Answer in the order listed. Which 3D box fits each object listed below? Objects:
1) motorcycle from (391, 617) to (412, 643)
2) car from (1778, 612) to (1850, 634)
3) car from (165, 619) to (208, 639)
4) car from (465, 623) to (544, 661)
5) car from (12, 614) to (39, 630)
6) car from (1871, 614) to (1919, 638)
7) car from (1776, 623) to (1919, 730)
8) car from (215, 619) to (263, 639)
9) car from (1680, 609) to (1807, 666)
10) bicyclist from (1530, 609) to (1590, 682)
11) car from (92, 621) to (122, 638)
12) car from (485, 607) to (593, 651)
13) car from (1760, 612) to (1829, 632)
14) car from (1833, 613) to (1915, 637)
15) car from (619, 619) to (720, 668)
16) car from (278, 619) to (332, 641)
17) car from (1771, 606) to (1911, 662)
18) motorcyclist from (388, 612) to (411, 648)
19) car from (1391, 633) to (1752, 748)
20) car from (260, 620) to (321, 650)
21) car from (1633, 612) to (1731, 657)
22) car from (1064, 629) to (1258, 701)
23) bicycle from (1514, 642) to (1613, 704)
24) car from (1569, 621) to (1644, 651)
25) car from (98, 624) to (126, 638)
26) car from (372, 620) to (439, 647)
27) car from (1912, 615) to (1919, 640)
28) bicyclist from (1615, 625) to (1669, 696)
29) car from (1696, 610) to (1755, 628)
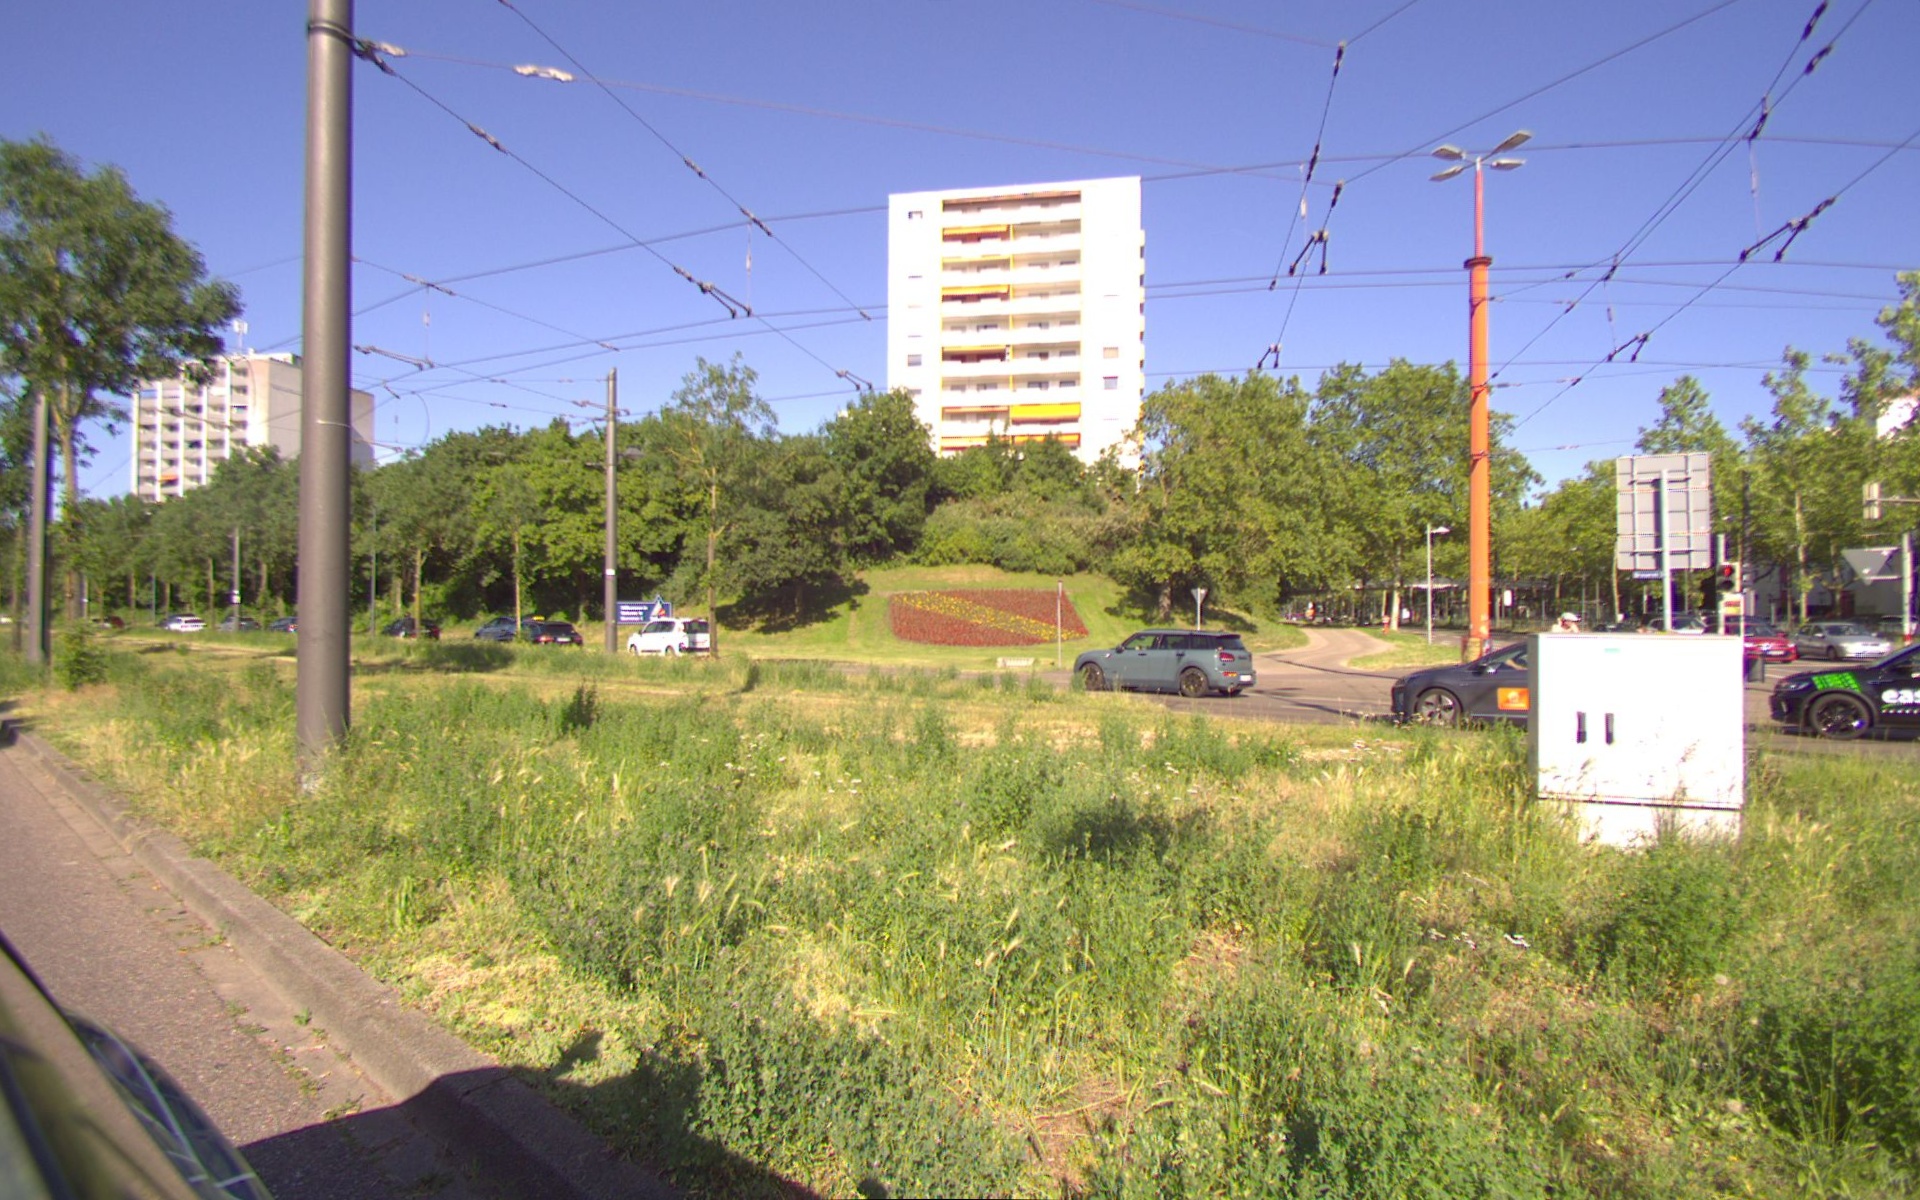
[{"bbox_3d":[-25.528,1.350,46.268,0.416,1.140,2.098,0,0,-41],"label":"motorcycle"},{"bbox_3d":[67.061,1.779,79.516,1.864,1.608,4.010,0,0,-34],"label":"car"},{"bbox_3d":[-55.720,2.079,72.904,4.642,1.433,1.685,-1,-2,42],"label":"car"},{"bbox_3d":[-21.027,1.906,46.627,4.439,1.613,1.817,-1,-2,44],"label":"car"},{"bbox_3d":[-97.094,2.258,105.139,3.757,1.620,1.744,-1,-2,42],"label":"car"},{"bbox_3d":[64.813,1.766,68.721,1.864,1.608,4.010,0,0,-34],"label":"car"},{"bbox_3d":[13.952,1.075,14.138,3.886,1.444,1.527,-1,-2,43],"label":"car"},{"bbox_3d":[-54.224,2.157,76.121,4.693,1.443,1.972,-1,-2,42],"label":"car"},{"bbox_3d":[28.666,1.320,37.217,1.979,1.915,4.259,-1,0,11],"label":"car"},{"bbox_3d":[12.125,0.909,20.472,0.741,1.441,0.757,-1,0,-2],"label":"bicyclist"},{"bbox_3d":[-76.324,2.608,90.554,4.183,1.484,1.571,-1,-2,44],"label":"car"},{"bbox_3d":[-15.632,1.031,37.483,4.603,1.496,1.856,-1,0,41],"label":"car"},{"bbox_3d":[68.287,1.778,82.840,1.864,1.608,4.010,0,0,-34],"label":"car"},{"bbox_3d":[65.524,1.772,72.622,1.864,1.608,4.010,0,0,-34],"label":"car"},{"bbox_3d":[-10.852,1.569,37.679,4.060,1.720,1.781,-1,-2,43],"label":"car"},{"bbox_3d":[-42.958,1.947,66.302,4.400,1.384,1.972,-1,0,43],"label":"car"},{"bbox_3d":[32.074,1.191,37.036,1.979,1.915,4.259,-1,0,11],"label":"car"},{"bbox_3d":[-25.627,1.373,46.287,0.825,1.611,0.641,0,0,-41],"label":"motorcyclist"},{"bbox_3d":[8.708,1.194,14.658,4.261,1.388,1.531,-1,-2,42],"label":"car"},{"bbox_3d":[-37.929,1.966,57.265,4.465,1.606,1.971,-1,-2,44],"label":"car"},{"bbox_3d":[30.593,1.430,43.034,1.893,1.763,3.985,-1,0,11],"label":"car"},{"bbox_3d":[4.401,1.378,22.586,4.141,1.398,1.414,-1,0,44],"label":"car"},{"bbox_3d":[12.143,1.439,20.449,0.467,1.089,2.362,-1,0,-3],"label":"bicycle"},{"bbox_3d":[31.588,1.745,49.580,1.718,1.332,3.985,-1,0,11],"label":"car"},{"bbox_3d":[-82.645,2.979,98.600,4.177,1.307,1.639,-1,-2,43],"label":"car"},{"bbox_3d":[-29.399,1.763,53.606,4.030,1.352,1.841,-1,-2,42],"label":"car"},{"bbox_3d":[64.132,1.761,65.016,1.864,1.608,4.010,0,0,-34],"label":"car"},{"bbox_3d":[13.328,1.167,19.788,0.540,1.333,0.701,-1,0,-4],"label":"bicyclist"},{"bbox_3d":[71.645,1.783,94.710,1.864,1.608,4.010,0,0,-34],"label":"car"}]
